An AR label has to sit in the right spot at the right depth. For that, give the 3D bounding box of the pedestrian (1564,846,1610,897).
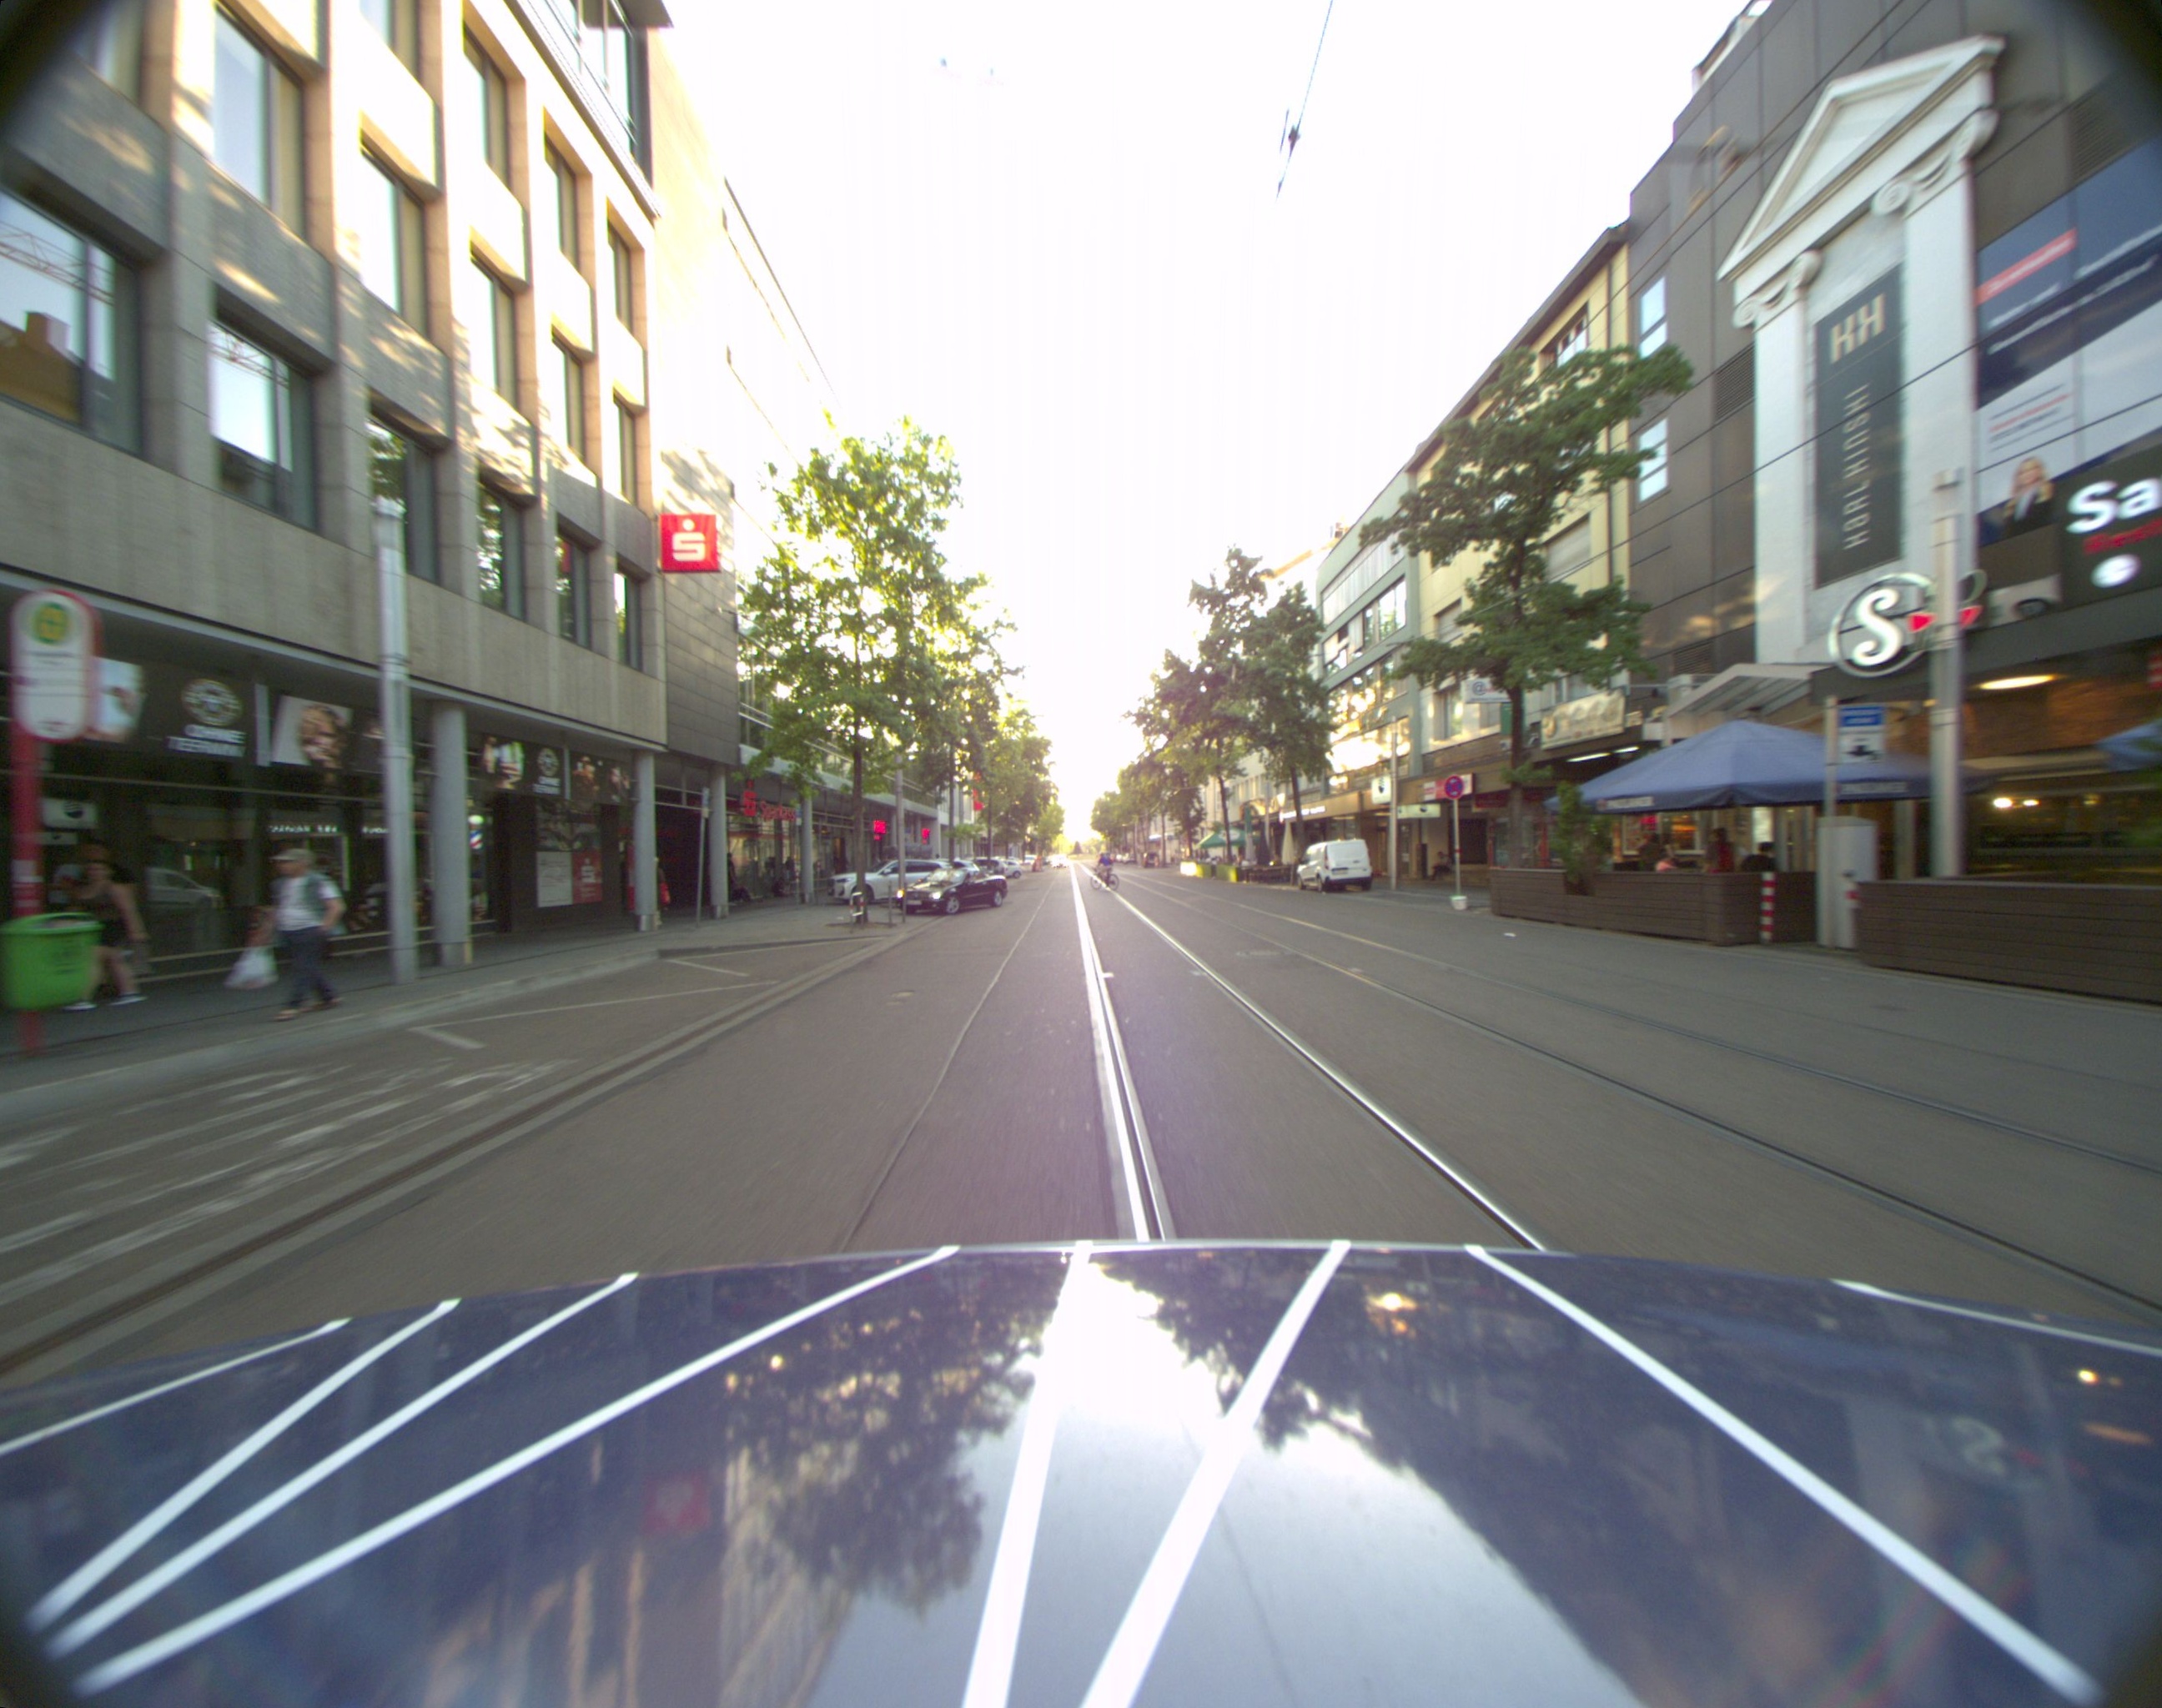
[{"bbox_3d":[13.022,0.437,19.551,0.642,1.221,0.665,-6,2,-2],"label":"pedestrian"}]

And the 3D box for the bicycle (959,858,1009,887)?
[{"bbox_3d":[-5.489,1.056,43.088,2.677,1.448,0.728,-4,1,-27],"label":"bicycle"}]

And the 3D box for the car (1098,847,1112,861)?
[{"bbox_3d":[3.456,0.031,110.538,1.998,2.002,4.000,-1,0,0],"label":"car"}]

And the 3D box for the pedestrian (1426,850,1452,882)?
[{"bbox_3d":[13.761,0.454,29.242,0.650,1.168,0.650,-2,1,-5],"label":"pedestrian"}]

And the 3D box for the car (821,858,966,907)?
[{"bbox_3d":[-6.634,0.975,27.044,4.646,1.620,1.914,1,-1,-32],"label":"car"}]

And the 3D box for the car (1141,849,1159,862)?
[{"bbox_3d":[8.165,0.125,90.207,1.799,1.501,4.000,-1,0,0],"label":"car"}]

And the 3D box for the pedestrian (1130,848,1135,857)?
[{"bbox_3d":[8.172,-0.197,120.495,0.650,1.451,0.650,-1,1,-2],"label":"pedestrian"}]

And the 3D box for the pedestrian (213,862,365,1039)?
[{"bbox_3d":[-7.539,0.889,7.267,0.670,1.579,0.638,-3,1,-1],"label":"pedestrian"}]

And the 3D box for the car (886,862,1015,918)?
[{"bbox_3d":[-3.921,1.044,23.669,1.796,1.400,4.571,-2,1,21],"label":"car"}]

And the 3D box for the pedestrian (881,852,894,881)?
[{"bbox_3d":[-11.357,0.725,44.653,0.558,1.681,0.628,0,1,0],"label":"pedestrian"}]

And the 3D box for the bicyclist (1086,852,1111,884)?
[{"bbox_3d":[0.757,0.621,33.888,0.762,1.406,0.895,0,0,-29],"label":"bicyclist"}]

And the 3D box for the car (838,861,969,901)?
[{"bbox_3d":[-6.940,1.025,29.743,4.644,1.431,1.914,1,0,-27],"label":"car"}]

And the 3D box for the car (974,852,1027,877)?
[{"bbox_3d":[-6.761,0.857,63.907,4.004,1.776,1.861,-4,1,-24],"label":"car"}]

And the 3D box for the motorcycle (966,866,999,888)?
[{"bbox_3d":[-5.072,1.180,39.186,1.574,1.093,0.627,1,1,-25],"label":"motorcycle"}]

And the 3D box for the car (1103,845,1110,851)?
[{"bbox_3d":[7.097,-1.604,209.959,1.799,1.501,4.000,-1,0,0],"label":"car"}]

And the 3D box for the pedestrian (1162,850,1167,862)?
[{"bbox_3d":[10.222,0.211,92.984,0.490,1.451,0.543,-1,1,-2],"label":"pedestrian"}]

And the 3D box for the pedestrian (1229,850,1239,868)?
[{"bbox_3d":[12.461,0.430,61.903,0.650,1.451,0.650,-1,1,-2],"label":"pedestrian"}]

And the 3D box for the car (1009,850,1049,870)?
[{"bbox_3d":[-5.231,0.590,76.798,1.860,1.776,4.007,-3,1,34],"label":"car"}]

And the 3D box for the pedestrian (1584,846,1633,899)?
[{"bbox_3d":[12.947,0.451,18.650,0.642,1.221,0.665,-6,2,-2],"label":"pedestrian"}]

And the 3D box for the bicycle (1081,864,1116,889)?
[{"bbox_3d":[0.758,0.989,33.902,0.734,1.067,1.861,0,0,-29],"label":"bicycle"}]

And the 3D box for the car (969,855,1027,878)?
[{"bbox_3d":[-6.451,0.957,59.198,4.005,1.501,1.861,-4,1,-30],"label":"car"}]

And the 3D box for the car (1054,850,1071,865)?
[{"bbox_3d":[-2.402,0.445,100.052,1.998,2.002,4.000,-1,0,0],"label":"car"}]

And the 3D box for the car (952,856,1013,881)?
[{"bbox_3d":[-7.193,1.031,55.647,4.005,1.501,1.796,-4,1,-30],"label":"car"}]

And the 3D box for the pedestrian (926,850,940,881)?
[{"bbox_3d":[-8.269,0.648,42.480,0.618,1.681,0.628,0,1,0],"label":"pedestrian"}]

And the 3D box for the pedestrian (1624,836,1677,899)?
[{"bbox_3d":[13.486,0.311,18.003,0.662,1.426,0.643,-6,2,0],"label":"pedestrian"}]

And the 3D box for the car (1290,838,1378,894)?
[{"bbox_3d":[9.369,0.415,28.517,1.830,1.811,4.329,-4,0,1],"label":"car"}]

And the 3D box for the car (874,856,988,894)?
[{"bbox_3d":[-6.756,0.927,34.376,4.646,1.578,1.913,1,0,-35],"label":"car"}]

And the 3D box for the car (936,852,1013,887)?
[{"bbox_3d":[-6.793,0.971,48.833,4.474,1.869,1.796,-4,1,-37],"label":"car"}]

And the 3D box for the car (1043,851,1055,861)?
[{"bbox_3d":[-5.492,0.346,131.436,1.793,1.499,3.999,-2,1,0],"label":"car"}]

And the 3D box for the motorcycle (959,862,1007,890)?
[{"bbox_3d":[-4.837,1.063,37.695,1.153,1.346,2.115,1,1,41],"label":"motorcycle"}]

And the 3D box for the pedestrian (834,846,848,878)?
[{"bbox_3d":[-12.759,0.419,40.372,0.629,1.681,0.557,-1,2,-29],"label":"pedestrian"}]

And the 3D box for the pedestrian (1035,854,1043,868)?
[{"bbox_3d":[-4.373,0.681,79.788,0.650,1.451,0.649,-1,1,-17],"label":"pedestrian"}]

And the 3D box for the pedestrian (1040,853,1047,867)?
[{"bbox_3d":[-4.068,0.636,82.427,0.650,1.451,0.649,-1,1,-17],"label":"pedestrian"}]
